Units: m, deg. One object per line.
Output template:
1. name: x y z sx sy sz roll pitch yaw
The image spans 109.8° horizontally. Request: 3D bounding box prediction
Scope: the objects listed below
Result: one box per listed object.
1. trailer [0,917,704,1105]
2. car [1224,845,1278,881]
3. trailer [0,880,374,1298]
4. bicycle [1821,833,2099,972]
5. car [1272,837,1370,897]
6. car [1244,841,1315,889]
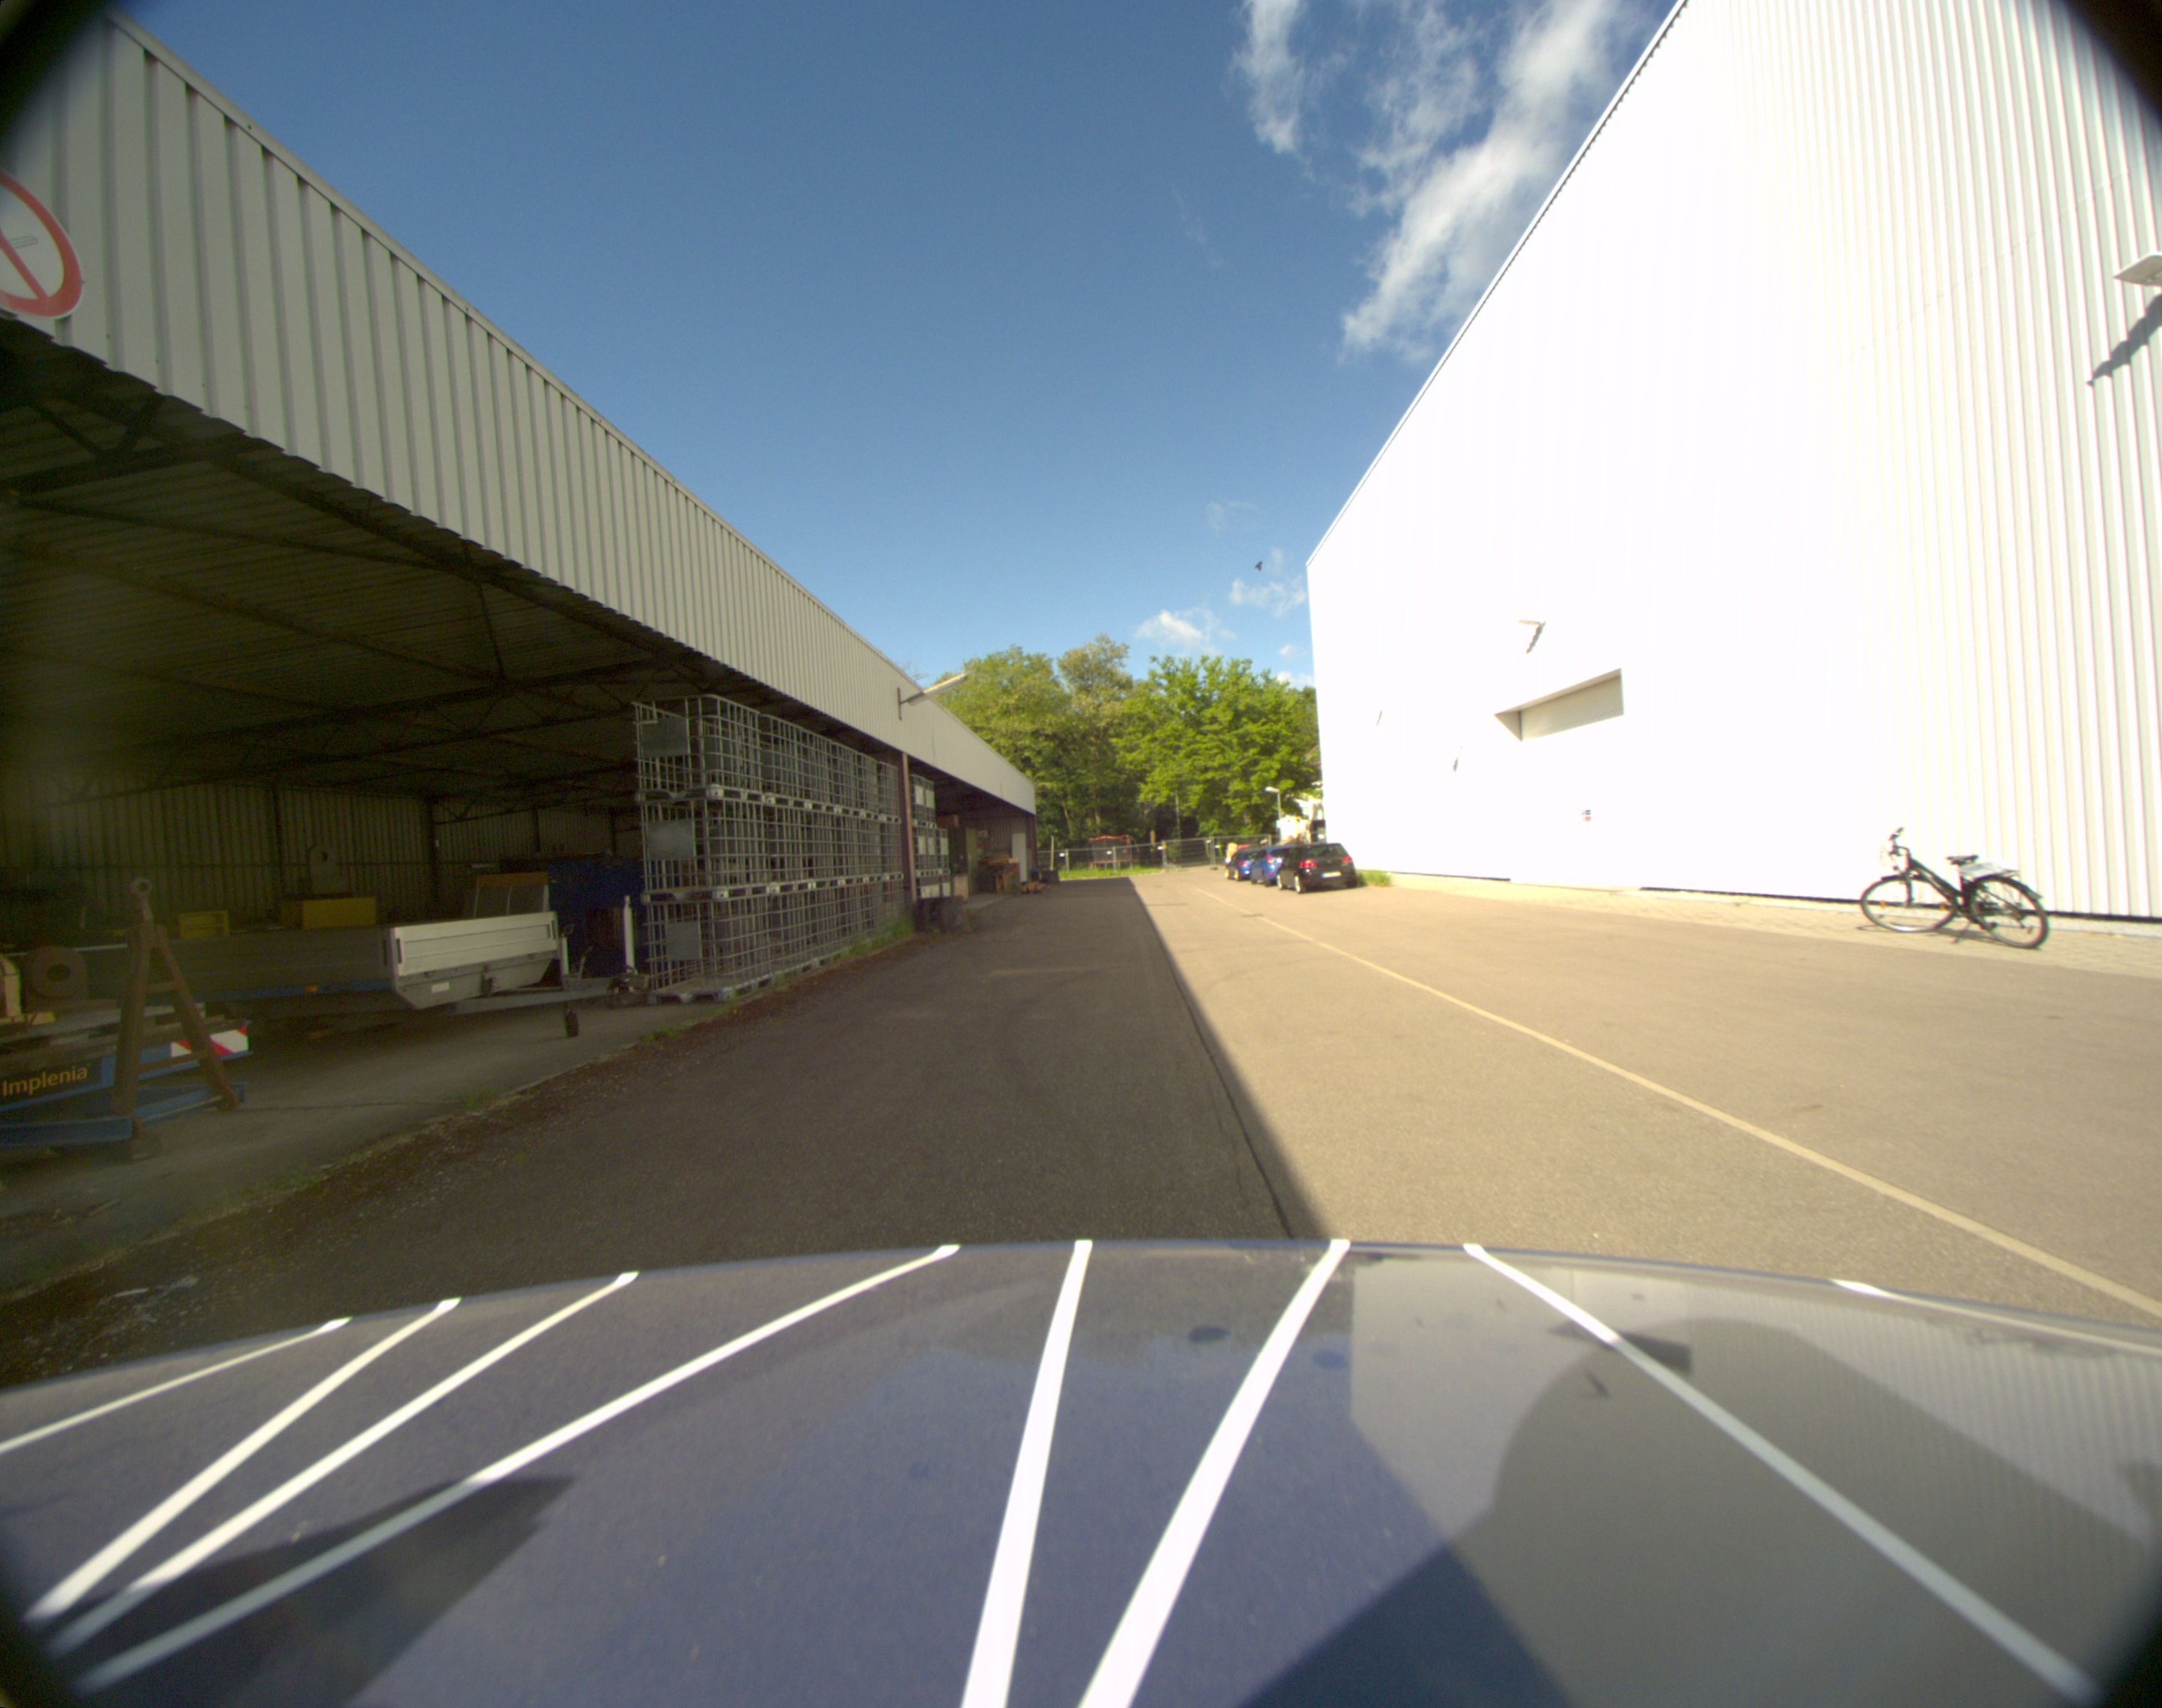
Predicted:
1. trailer: -6.918 1.360 7.016 5.836 1.113 2.029 -3 0 2
2. car: 7.621 0.377 34.408 1.789 1.431 4.001 -3 0 4
3. trailer: -6.803 1.098 3.657 4.879 1.619 2.029 -3 0 2
4. bicycle: 8.669 0.420 7.657 0.909 1.136 1.901 -7 0 18
5. car: 7.362 0.357 23.726 1.895 1.513 4.001 -7 0 5
6. car: 7.470 0.360 28.906 1.789 1.513 4.001 -7 0 5
